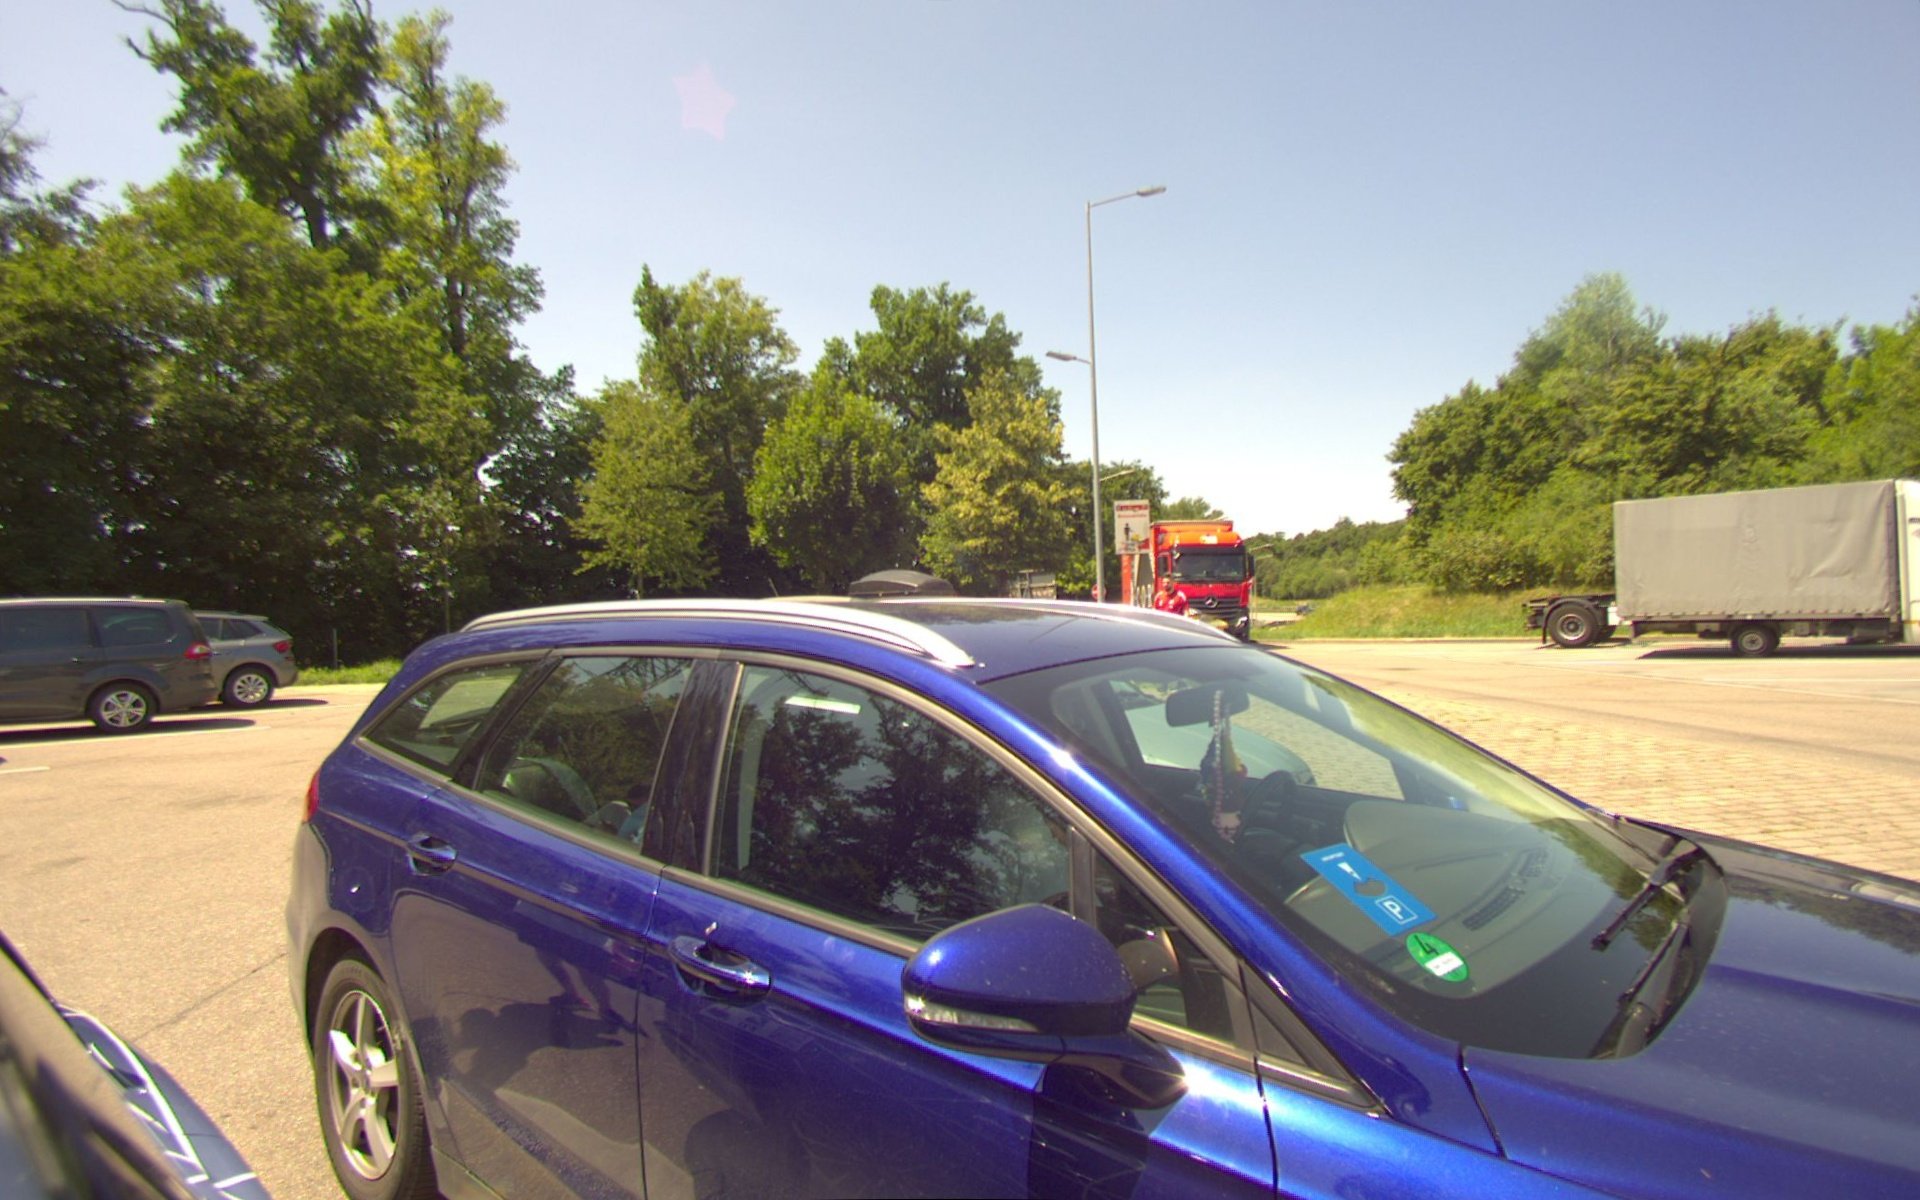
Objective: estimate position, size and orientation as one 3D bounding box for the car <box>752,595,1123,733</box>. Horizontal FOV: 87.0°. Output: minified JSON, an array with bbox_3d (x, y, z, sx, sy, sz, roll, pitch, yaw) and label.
[{"bbox_3d":[-0.394,0.768,12.765,4.485,1.437,1.756,-3,-1,36],"label":"car"}]

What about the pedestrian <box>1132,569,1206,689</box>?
[{"bbox_3d":[3.135,0.426,15.213,0.819,1.746,0.678,-1,-1,-27],"label":"pedestrian"}]

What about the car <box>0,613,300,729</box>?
[{"bbox_3d":[-12.605,0.994,15.471,1.687,1.515,3.943,-1,0,43],"label":"car"}]

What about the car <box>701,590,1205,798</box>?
[{"bbox_3d":[-0.253,0.742,9.218,4.490,1.437,1.754,-3,-1,40],"label":"car"}]

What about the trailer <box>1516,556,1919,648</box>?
[{"bbox_3d":[17.245,0.123,23.400,7.295,1.701,2.235,-4,-1,43],"label":"trailer"}]

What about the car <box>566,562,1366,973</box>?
[{"bbox_3d":[-0.266,0.687,5.844,4.490,1.511,1.754,-3,-1,40],"label":"car"}]

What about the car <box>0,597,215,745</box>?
[{"bbox_3d":[-11.950,0.849,12.307,4.553,1.725,1.741,0,-1,-41],"label":"car"}]

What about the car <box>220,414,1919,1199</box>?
[{"bbox_3d":[0.246,0.654,2.145,4.490,1.502,1.851,-3,0,40],"label":"car"}]

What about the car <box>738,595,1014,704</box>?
[{"bbox_3d":[-1.485,0.819,16.865,4.485,1.562,1.756,-3,-1,36],"label":"car"}]

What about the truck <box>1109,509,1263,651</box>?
[{"bbox_3d":[7.755,-0.585,37.424,3.092,4.150,15.384,-1,0,3],"label":"truck"}]

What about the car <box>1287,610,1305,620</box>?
[{"bbox_3d":[51.715,2.308,155.570,1.845,1.408,3.958,-1,0,31],"label":"car"}]

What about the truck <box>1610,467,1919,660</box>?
[{"bbox_3d":[16.819,-0.658,18.972,7.295,3.259,2.709,-4,-1,43],"label":"truck"}]
